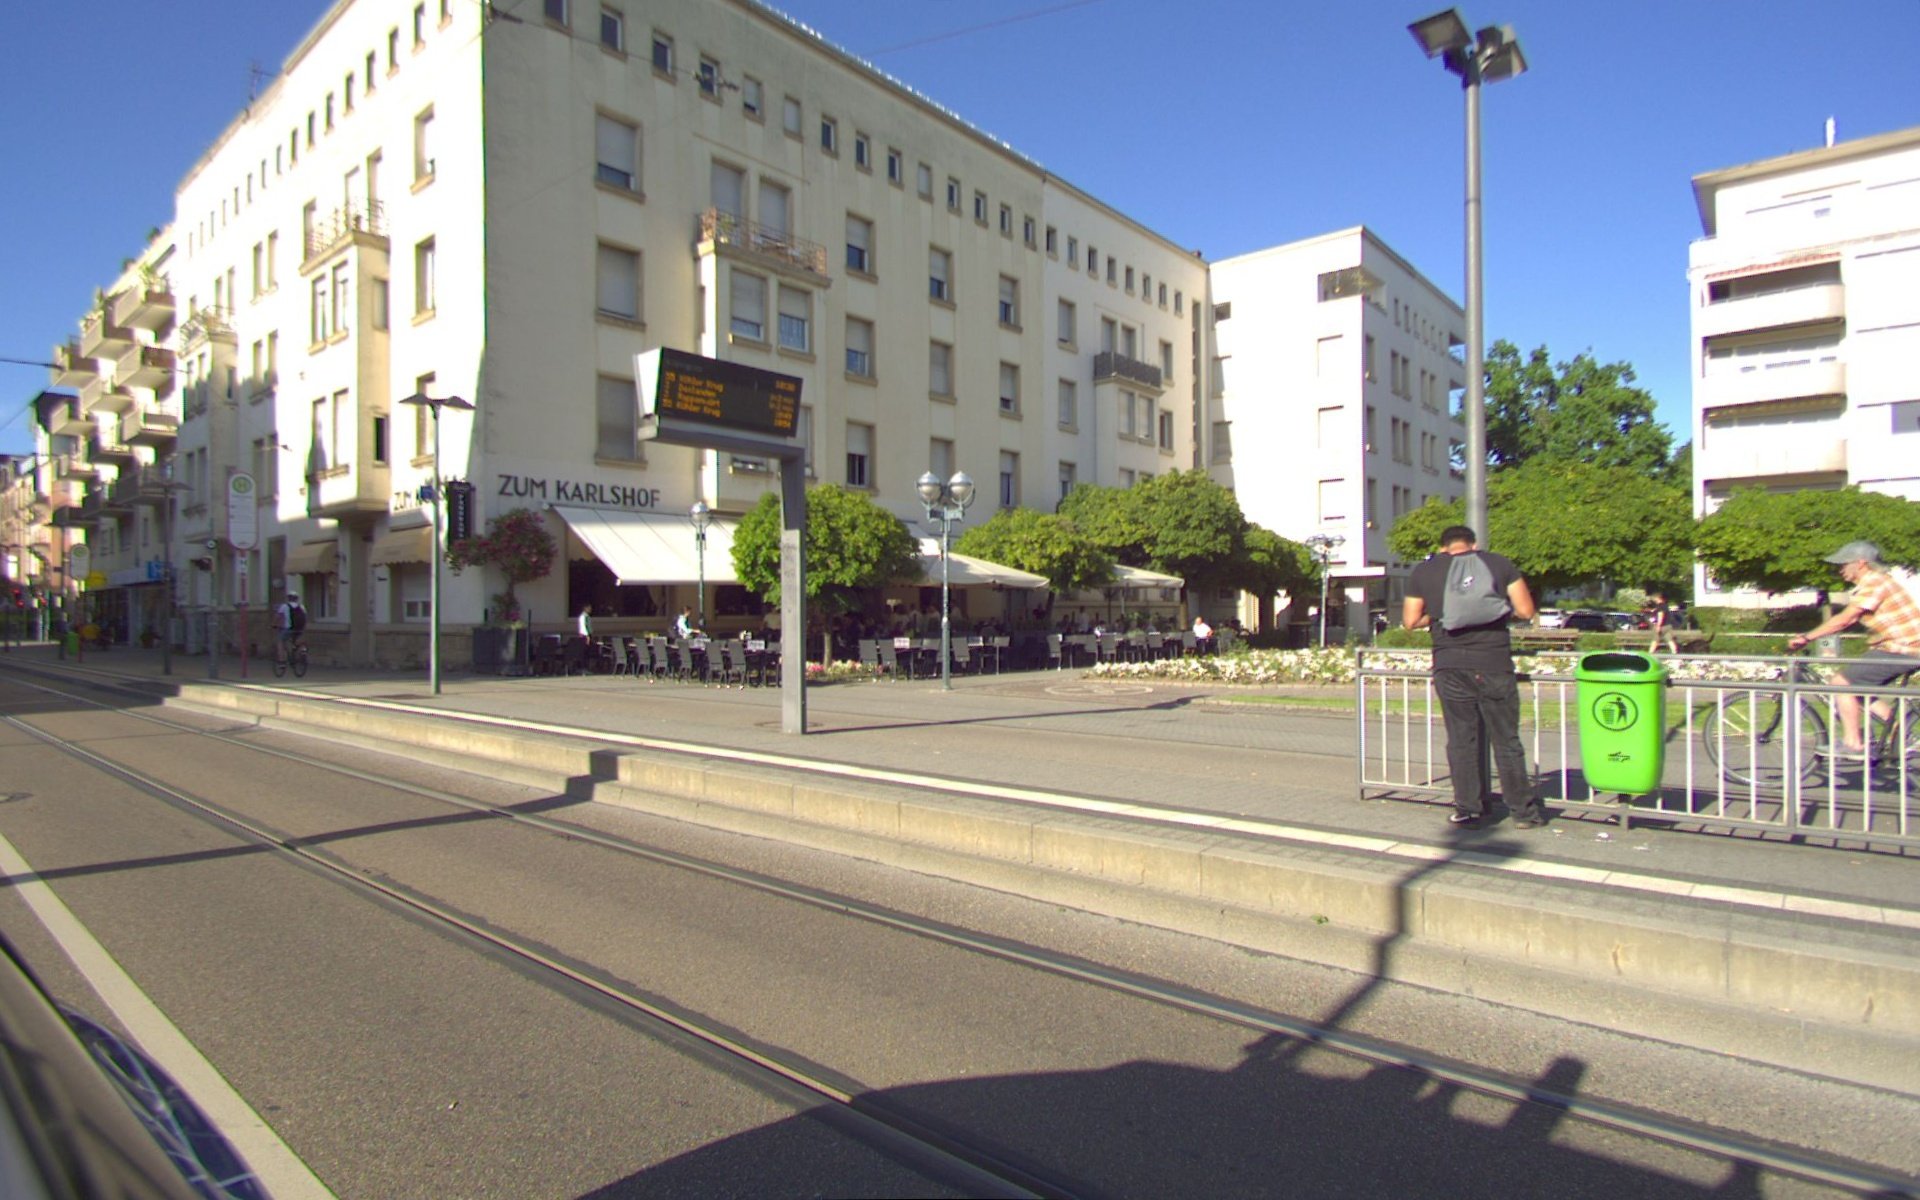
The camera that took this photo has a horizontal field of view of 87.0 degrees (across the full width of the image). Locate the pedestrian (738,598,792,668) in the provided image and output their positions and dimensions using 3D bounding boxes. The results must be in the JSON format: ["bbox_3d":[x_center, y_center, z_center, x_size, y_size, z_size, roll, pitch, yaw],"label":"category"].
[{"bbox_3d":[-4.728,0.792,24.606,0.755,1.657,1.054,-1,-1,36],"label":"pedestrian"}]

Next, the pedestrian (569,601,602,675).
[{"bbox_3d":[-8.505,0.868,22.967,0.662,1.657,0.753,0,-4,-22],"label":"pedestrian"}]

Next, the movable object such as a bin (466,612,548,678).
[{"bbox_3d":[-10.000,0.975,22.370,1.127,1.410,1.302,-1,-1,40],"label":"movable object such as a bin"}]

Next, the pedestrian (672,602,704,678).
[{"bbox_3d":[-6.091,0.908,22.699,0.662,1.657,0.678,-1,-4,-14],"label":"pedestrian"}]

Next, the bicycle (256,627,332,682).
[{"bbox_3d":[-14.709,1.180,22.333,2.031,1.134,0.706,-1,-1,35],"label":"bicycle"}]

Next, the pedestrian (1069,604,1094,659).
[{"bbox_3d":[4.021,1.049,33.467,0.677,1.750,0.671,-3,-4,14],"label":"pedestrian"}]

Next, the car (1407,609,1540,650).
[{"bbox_3d":[17.606,0.990,34.793,3.713,1.310,1.973,-1,-1,41],"label":"car"}]

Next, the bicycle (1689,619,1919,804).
[{"bbox_3d":[6.061,0.697,6.627,0.719,1.121,1.979,0,-1,-42],"label":"bicycle"}]

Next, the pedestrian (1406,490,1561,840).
[{"bbox_3d":[2.806,0.333,5.430,0.607,1.731,0.542,-1,-3,43],"label":"pedestrian"}]

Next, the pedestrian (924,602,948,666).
[{"bbox_3d":[-0.692,0.993,29.732,0.641,1.837,0.576,-1,-1,5],"label":"pedestrian"}]

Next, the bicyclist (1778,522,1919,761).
[{"bbox_3d":[6.028,0.250,6.662,0.817,1.466,0.878,-1,0,-42],"label":"bicyclist"}]

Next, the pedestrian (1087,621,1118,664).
[{"bbox_3d":[4.302,1.286,30.580,0.672,1.280,0.636,-5,-5,36],"label":"pedestrian"}]

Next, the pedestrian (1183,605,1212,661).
[{"bbox_3d":[7.548,1.057,32.197,0.710,1.750,0.673,-2,-4,1],"label":"pedestrian"}]

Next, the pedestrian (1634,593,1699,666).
[{"bbox_3d":[18.033,0.737,25.838,1.065,1.801,1.177,0,-1,-45],"label":"pedestrian"}]

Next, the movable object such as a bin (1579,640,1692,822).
[{"bbox_3d":[3.436,0.641,5.148,0.416,0.866,0.332,-1,-1,44],"label":"movable object such as a bin"}]

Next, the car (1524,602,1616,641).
[{"bbox_3d":[24.330,0.869,40.420,2.932,1.497,1.399,-1,-1,41],"label":"car"}]

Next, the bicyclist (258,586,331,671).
[{"bbox_3d":[-14.689,0.621,22.345,1.092,1.807,0.996,-1,-1,33],"label":"bicyclist"}]
